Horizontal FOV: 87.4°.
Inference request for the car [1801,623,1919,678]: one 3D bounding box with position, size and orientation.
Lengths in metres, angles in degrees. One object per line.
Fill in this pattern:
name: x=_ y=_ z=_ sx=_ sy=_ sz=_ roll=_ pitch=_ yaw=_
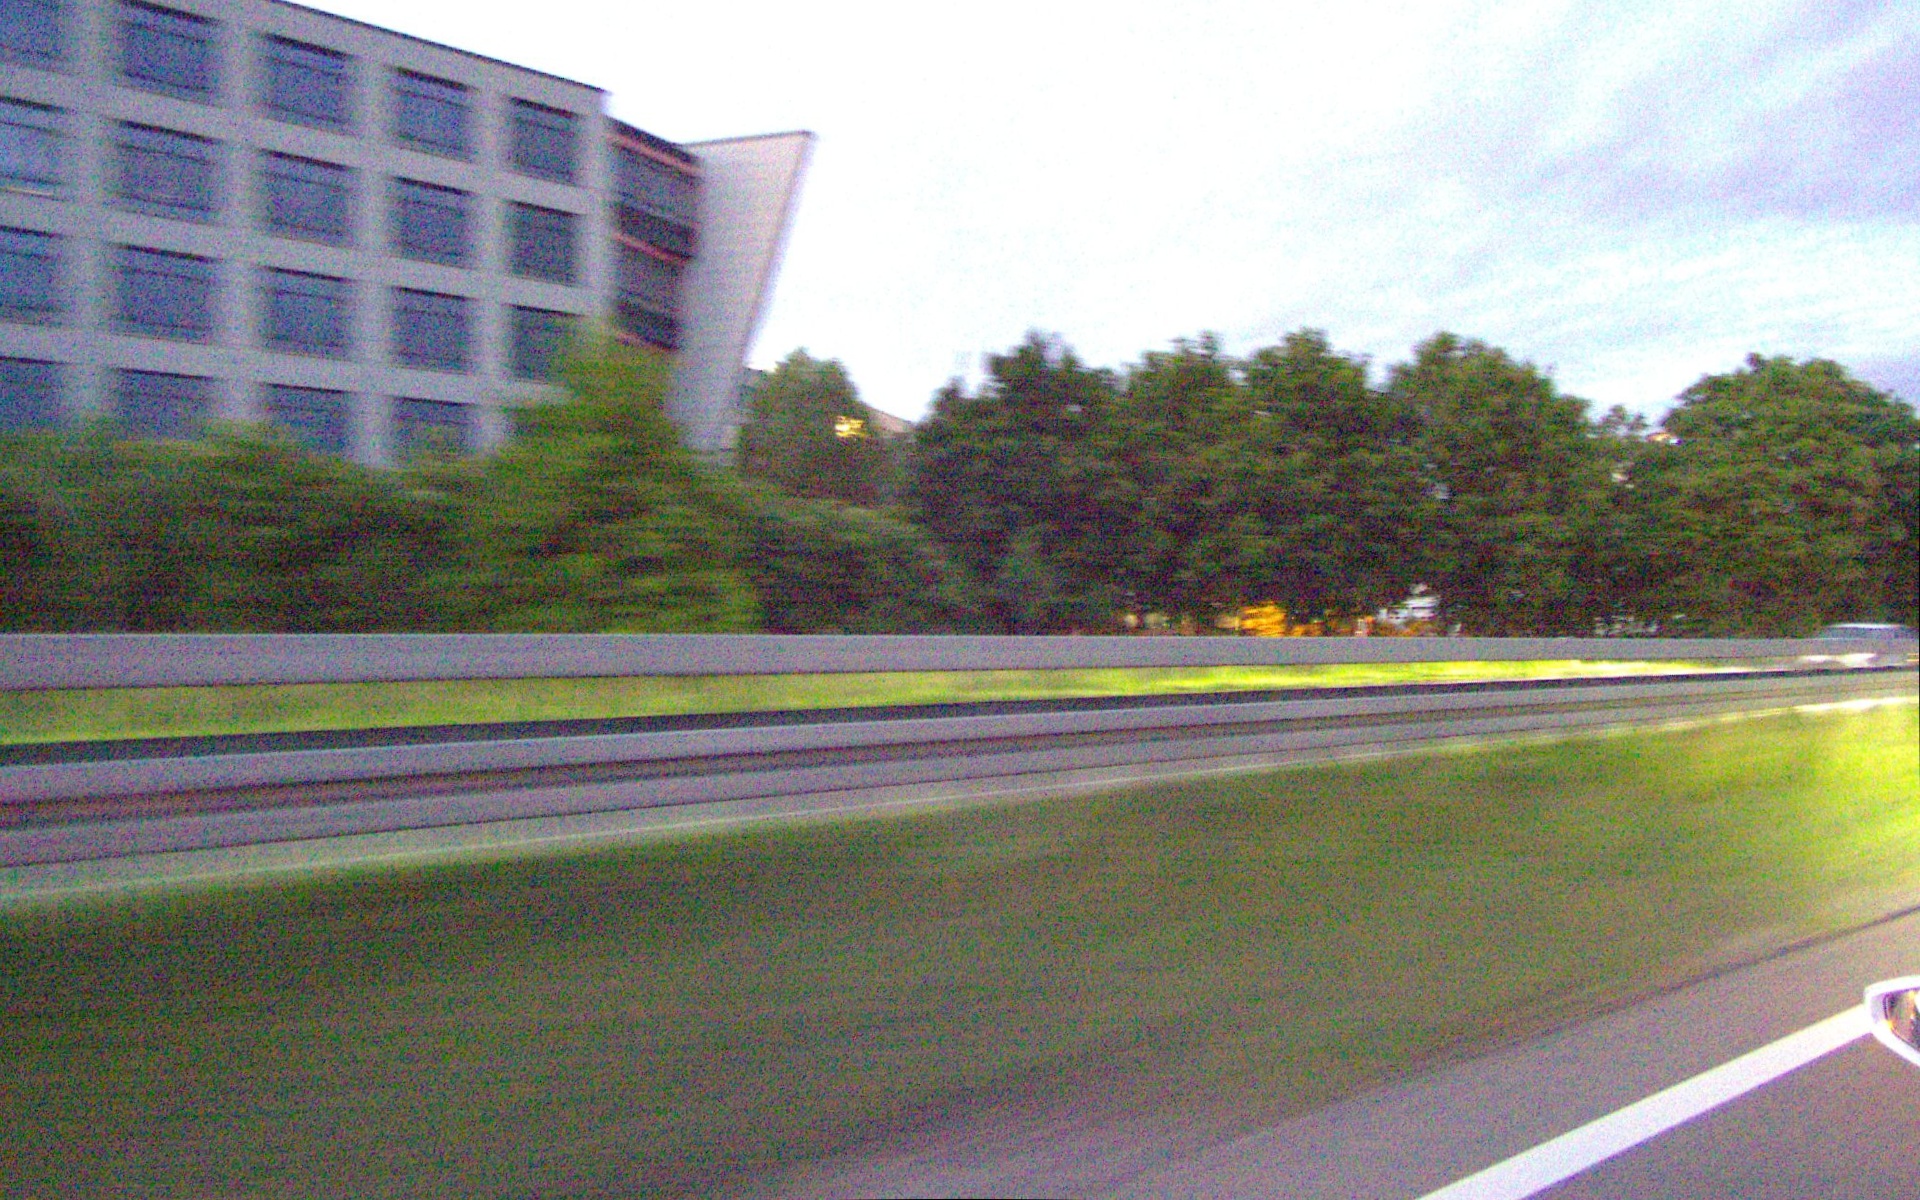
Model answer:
car: x=28.869 y=1.597 z=31.924 sx=4.604 sy=1.662 sz=1.763 roll=1 pitch=-3 yaw=-29
